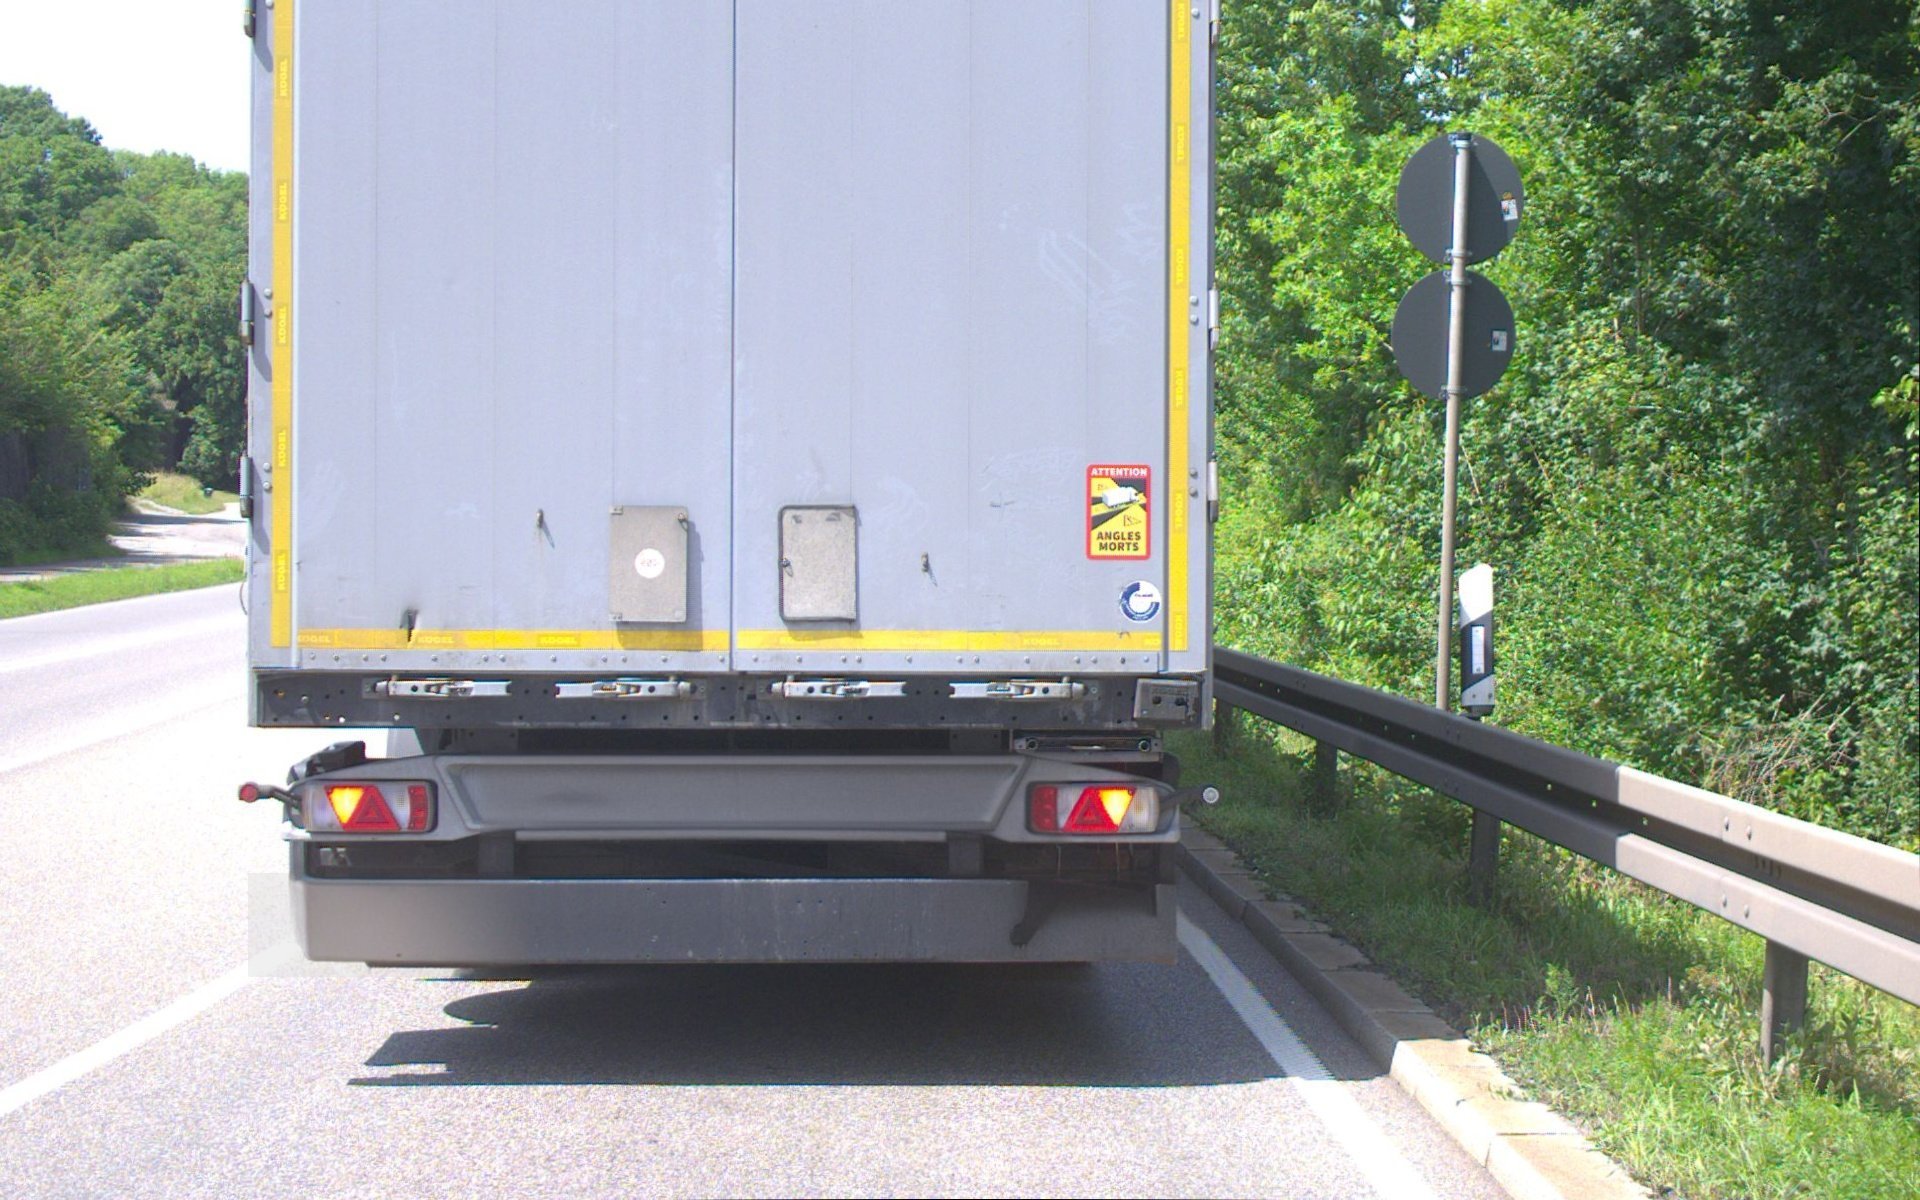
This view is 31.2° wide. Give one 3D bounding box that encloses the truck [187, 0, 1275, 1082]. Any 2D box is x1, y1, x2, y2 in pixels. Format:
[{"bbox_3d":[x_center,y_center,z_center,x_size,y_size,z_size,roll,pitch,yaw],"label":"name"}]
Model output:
[{"bbox_3d":[-0.728,-0.914,14.729,2.757,4.016,11.925,0,1,-1],"label":"truck"}]
